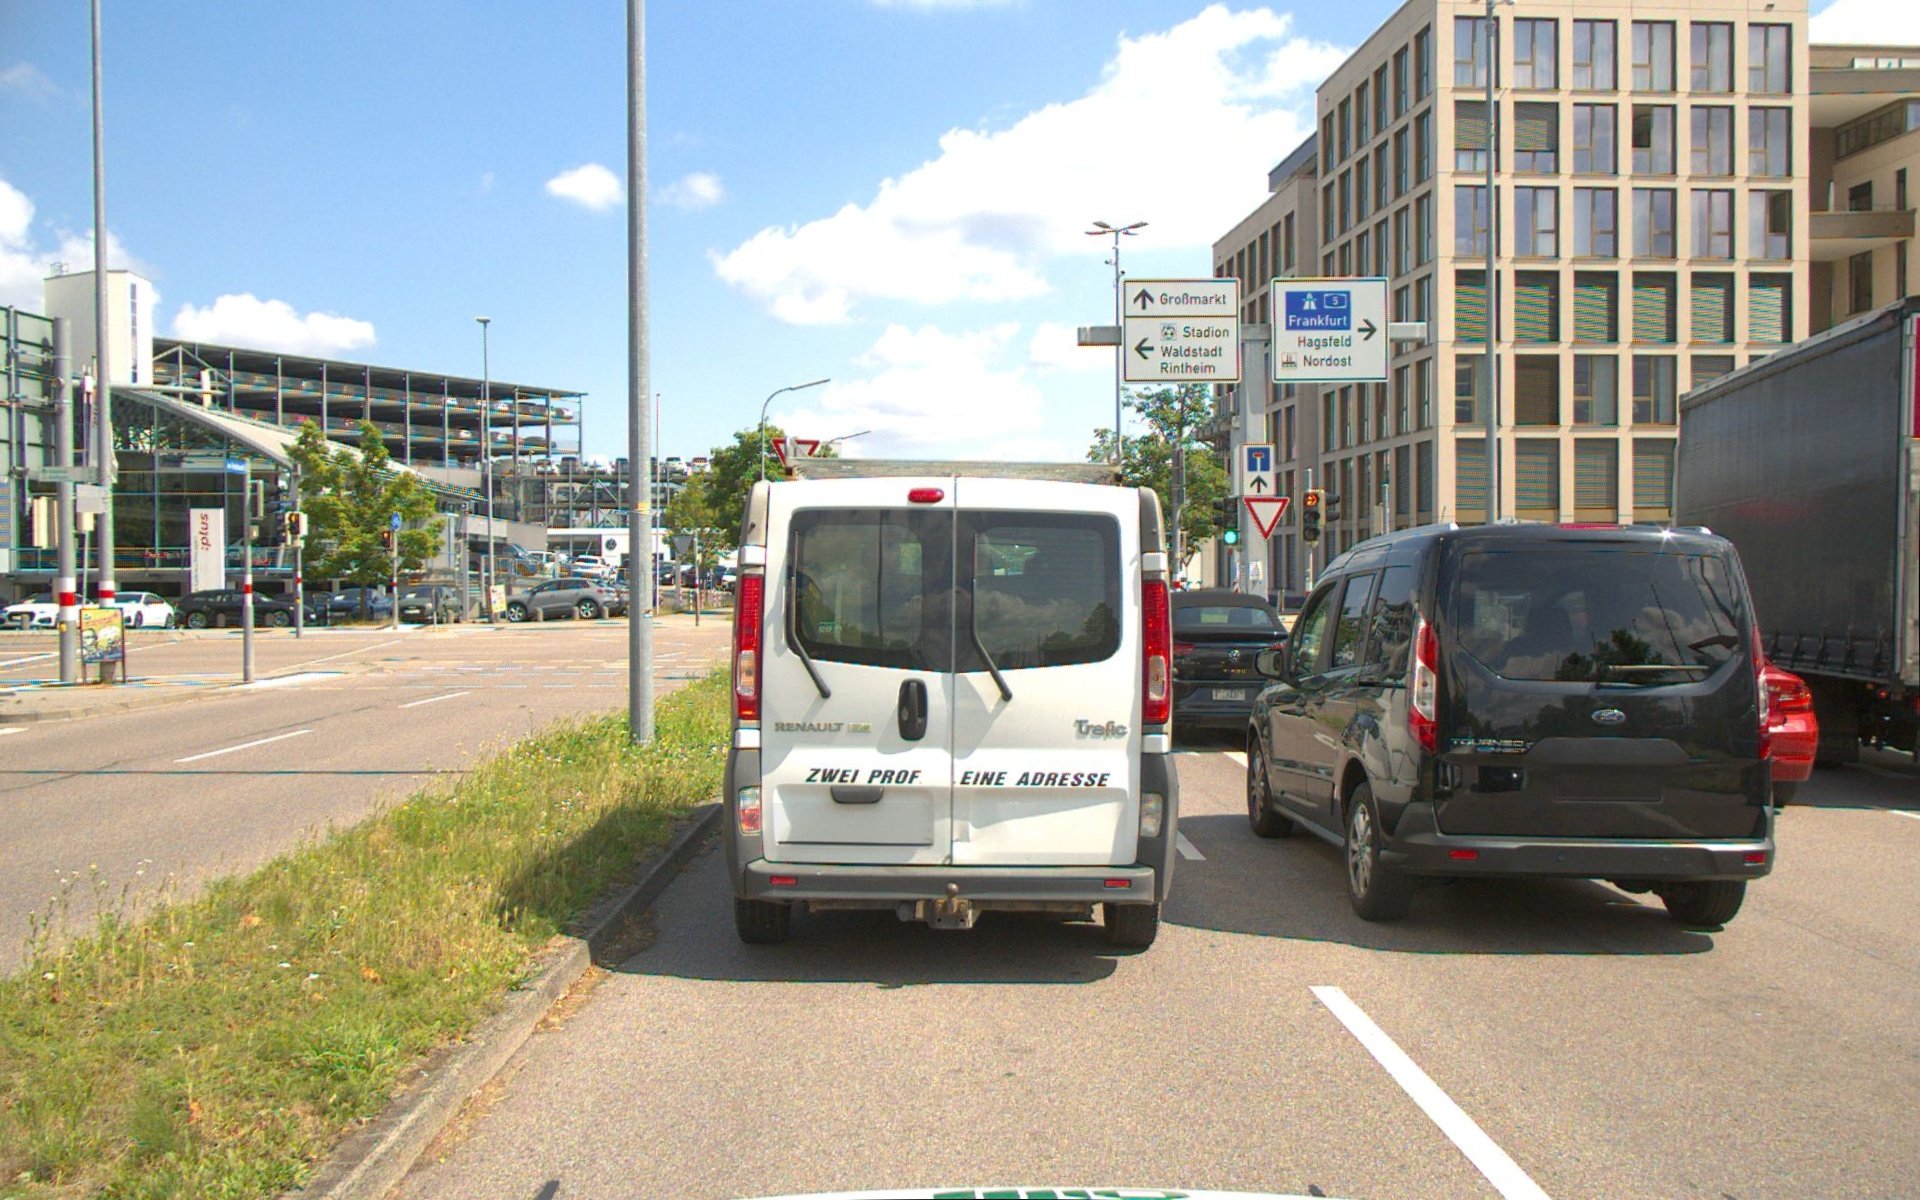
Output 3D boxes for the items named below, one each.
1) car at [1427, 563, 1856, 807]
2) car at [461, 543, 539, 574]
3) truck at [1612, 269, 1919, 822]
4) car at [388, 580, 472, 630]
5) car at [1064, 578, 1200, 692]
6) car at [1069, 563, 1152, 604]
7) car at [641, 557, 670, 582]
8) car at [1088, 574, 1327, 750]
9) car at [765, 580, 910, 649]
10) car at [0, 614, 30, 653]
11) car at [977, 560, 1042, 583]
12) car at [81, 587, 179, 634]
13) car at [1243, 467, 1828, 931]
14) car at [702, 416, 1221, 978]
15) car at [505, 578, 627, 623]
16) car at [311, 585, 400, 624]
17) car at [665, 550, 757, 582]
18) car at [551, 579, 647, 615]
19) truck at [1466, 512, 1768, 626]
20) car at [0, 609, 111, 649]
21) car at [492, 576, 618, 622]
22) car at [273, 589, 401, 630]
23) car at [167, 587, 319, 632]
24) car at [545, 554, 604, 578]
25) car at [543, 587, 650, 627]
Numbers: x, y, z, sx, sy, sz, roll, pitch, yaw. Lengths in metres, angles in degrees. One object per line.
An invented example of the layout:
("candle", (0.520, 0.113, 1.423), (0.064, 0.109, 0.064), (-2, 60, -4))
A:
("car", (5.392, 0.616, 13.747), (1.821, 1.684, 4.218), (1, -1, 0))
("car", (-28.663, -2.587, 103.149), (4.356, 1.833, 1.762), (1, 0, -7))
("truck", (9.225, -0.349, 16.506), (3.143, 4.098, 9.078), (1, 0, 9))
("car", (-19.104, 0.190, 59.795), (1.864, 1.707, 4.585), (1, 0, -5))
("car", (2.634, 0.502, 26.139), (1.737, 1.658, 4.000), (0, 0, 0))
("car", (7.799, -0.838, 86.048), (3.913, 2.049, 1.996), (1, 0, -9))
("car", (-20.001, -1.996, 108.699), (1.531, 1.579, 3.598), (1, 0, -6))
("car", (2.496, 0.579, 17.596), (1.738, 1.658, 3.998), (0, 0, -3))
("car", (-2.824, 0.322, 37.372), (1.834, 1.467, 3.963), (1, 0, -28))
("car", (-34.731, 1.181, 58.100), (1.864, 1.320, 4.585), (1, 0, -5))
("car", (4.880, -2.818, 162.713), (6.214, 2.049, 2.571), (1, 0, -3))
("car", (-29.390, 0.409, 58.710), (1.755, 1.490, 3.995), (-1, -2, -5))
("car", (2.759, 0.405, 8.949), (1.786, 1.938, 4.000), (0, 0, 0))
("car", (-0.023, 0.355, 8.472), (1.933, 2.096, 4.564), (0, 0, -1))
("car", (-15.831, 0.008, 66.670), (4.484, 1.707, 1.906), (1, 0, -4))
("car", (-21.736, 0.168, 59.636), (1.864, 1.320, 4.585), (1, 0, -5))
("car", (-17.401, -2.366, 115.707), (6.264, 2.139, 1.763), (1, 0, -6))
("car", (-18.225, -0.133, 83.661), (4.484, 1.707, 1.906), (1, 0, -4))
("truck", (22.426, -1.017, 56.598), (9.568, 3.617, 2.670), (1, 0, -8))
("car", (-32.016, 0.994, 58.551), (1.864, 1.320, 4.585), (1, 0, -5))
("car", (-15.722, -0.035, 64.389), (4.484, 1.707, 1.906), (1, 0, -4))
("car", (-25.951, 0.405, 69.025), (4.649, 1.537, 1.982), (-1, -3, -6))
("car", (-25.733, 0.365, 59.500), (4.649, 1.490, 1.793), (-1, -3, -6))
("car", (-26.949, -2.351, 115.728), (3.917, 1.579, 1.759), (1, 0, -13))
("car", (-16.519, 0.316, 75.320), (4.484, 1.707, 1.906), (-1, 1, -4))
